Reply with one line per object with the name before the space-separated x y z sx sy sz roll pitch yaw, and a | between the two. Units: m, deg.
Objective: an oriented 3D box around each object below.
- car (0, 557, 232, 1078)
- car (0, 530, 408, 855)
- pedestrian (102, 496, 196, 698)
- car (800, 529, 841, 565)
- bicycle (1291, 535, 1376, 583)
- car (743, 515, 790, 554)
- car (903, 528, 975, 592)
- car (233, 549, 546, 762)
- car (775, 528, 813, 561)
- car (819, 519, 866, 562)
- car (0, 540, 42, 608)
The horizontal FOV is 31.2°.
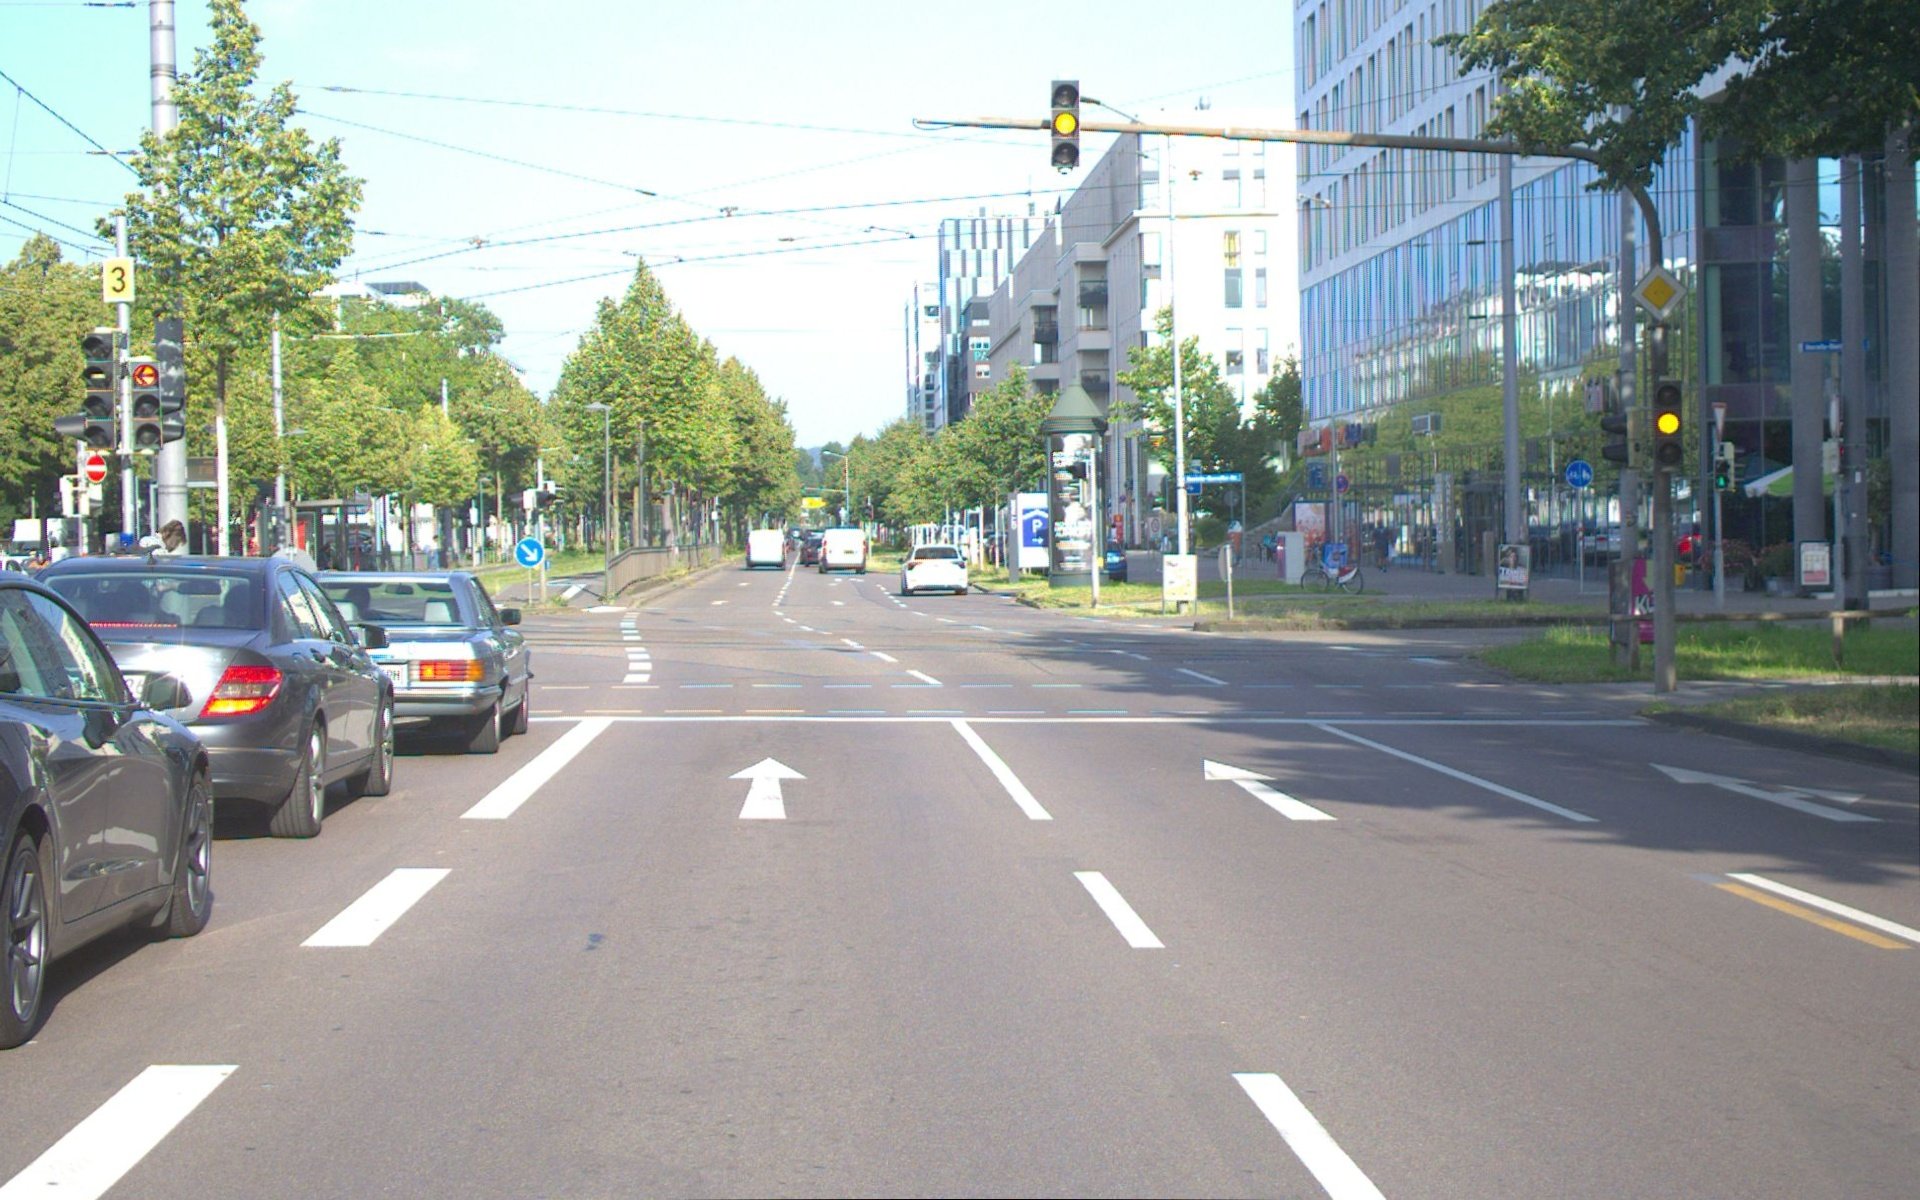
car | -3.685 0.587 11.143 1.889 1.381 4.335 1 2 -2
car | -4.119 0.393 18.361 1.786 1.473 4.354 1 2 -2
pedestrian | -7.241 -0.033 30.717 0.699 1.786 0.635 0 1 -2
car | -6.772 -2.590 167.074 1.924 1.678 4.001 1 2 -2
bicycle | 8.643 -0.959 79.627 1.877 1.028 0.772 3 4 44
car | -8.781 -2.978 155.979 2.014 1.678 4.001 1 2 -2
car | -0.596 -1.112 94.740 1.864 1.678 4.001 1 2 -2
car | -4.034 0.336 24.933 1.763 1.325 4.401 1 2 -3
car | -8.777 -2.952 181.316 1.923 1.678 4.001 1 2 -4
car | -4.801 -2.438 140.373 1.864 1.678 4.001 1 2 -2
car | -22.695 -0.569 79.434 1.993 1.499 4.093 -1 0 -2
